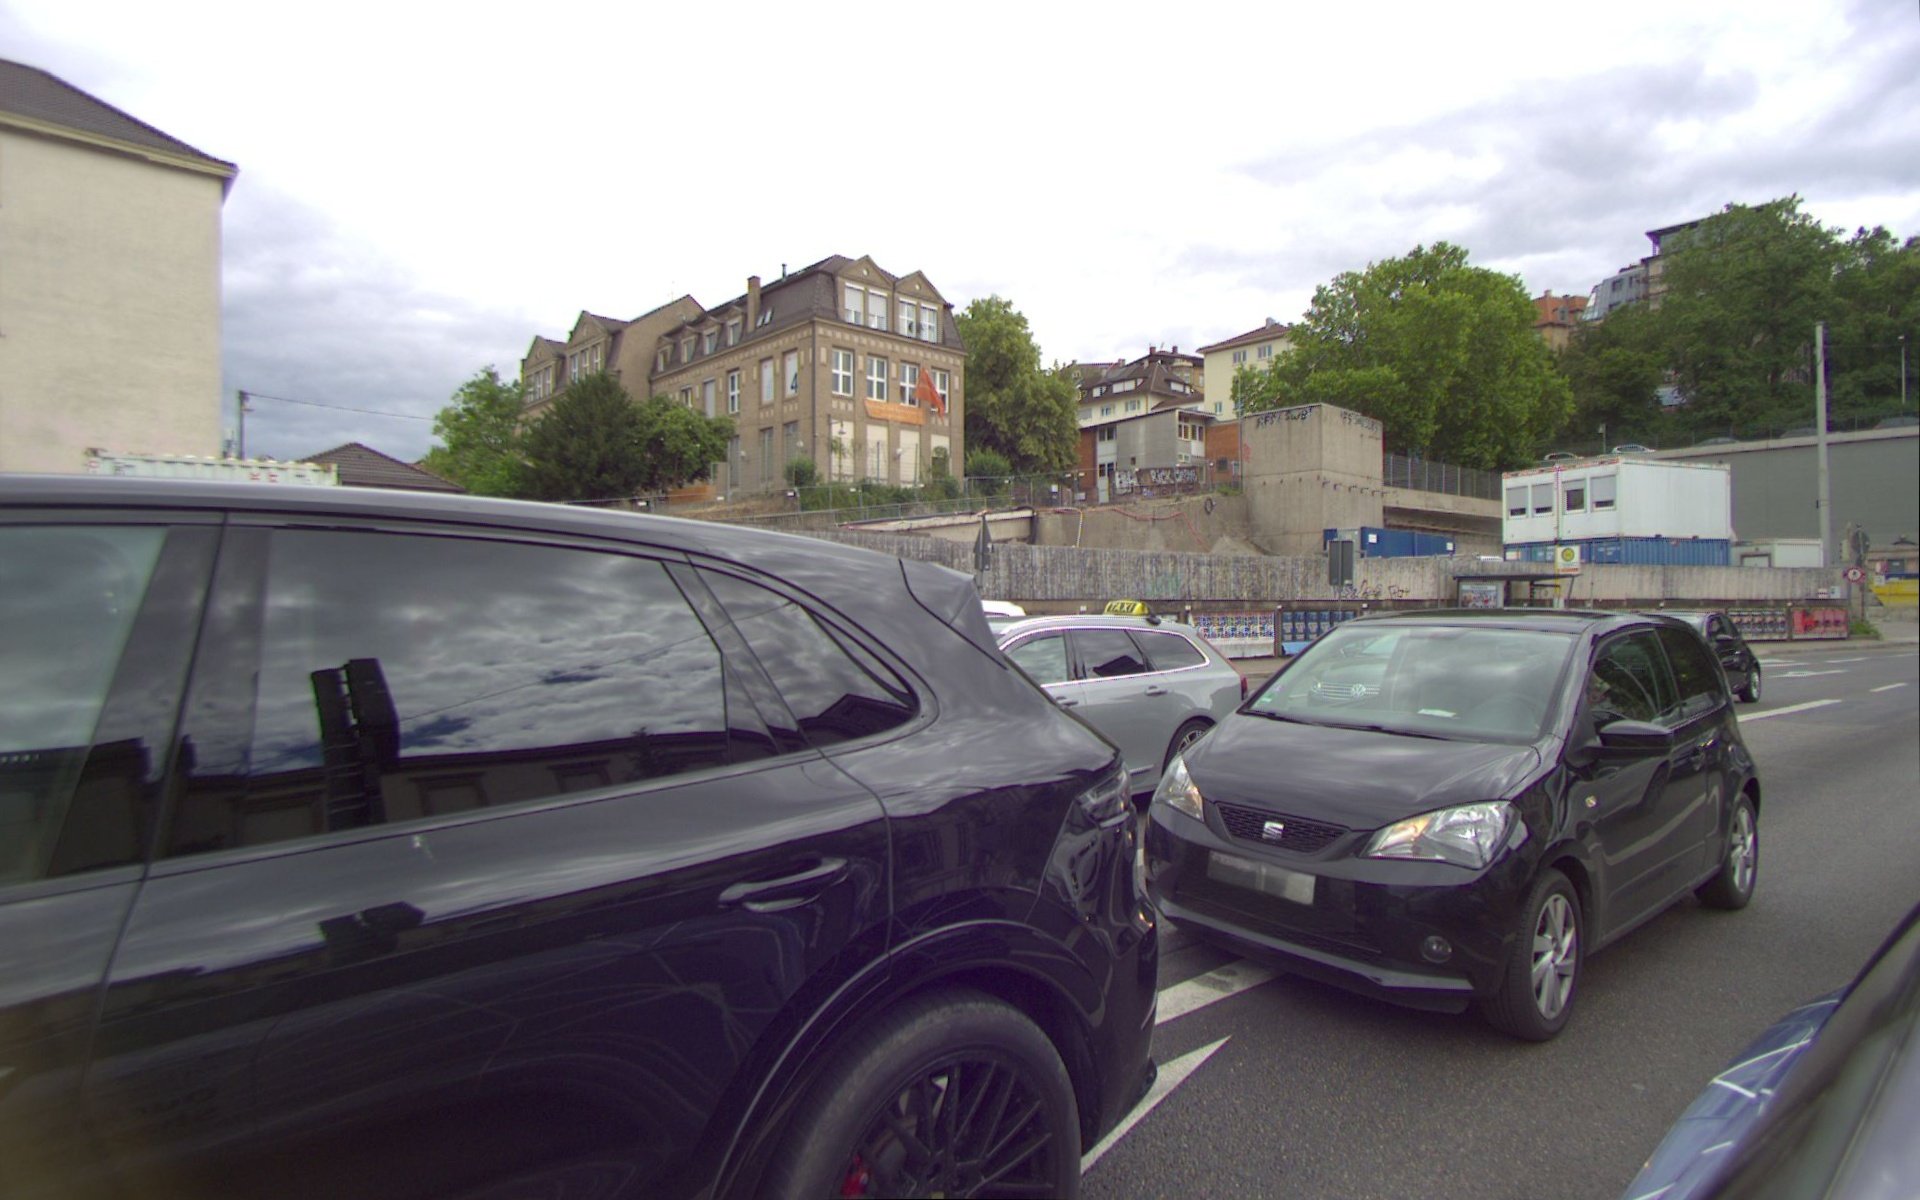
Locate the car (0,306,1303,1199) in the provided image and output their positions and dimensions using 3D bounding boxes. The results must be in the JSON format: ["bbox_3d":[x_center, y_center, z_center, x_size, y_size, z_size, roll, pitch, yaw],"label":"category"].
[{"bbox_3d":[-1.565,0.559,1.728,4.497,1.689,1.998,-1,0,-39],"label":"car"}]

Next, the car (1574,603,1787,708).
[{"bbox_3d":[11.425,0.804,15.991,3.711,1.478,1.721,1,-2,-38],"label":"car"}]

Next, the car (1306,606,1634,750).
[{"bbox_3d":[6.033,0.775,11.797,4.139,1.381,1.827,1,0,-38],"label":"car"}]

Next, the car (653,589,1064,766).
[{"bbox_3d":[-0.930,0.639,10.595,4.004,1.484,1.824,-1,0,-42],"label":"car"}]

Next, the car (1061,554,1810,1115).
[{"bbox_3d":[2.420,0.636,4.711,3.841,1.575,1.661,-1,0,-39],"label":"car"}]

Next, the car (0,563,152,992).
[{"bbox_3d":[-5.054,0.641,3.450,3.581,1.529,1.826,-1,0,-39],"label":"car"}]

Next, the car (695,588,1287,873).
[{"bbox_3d":[0.408,0.663,7.332,4.142,1.484,1.825,-1,0,-40],"label":"car"}]
